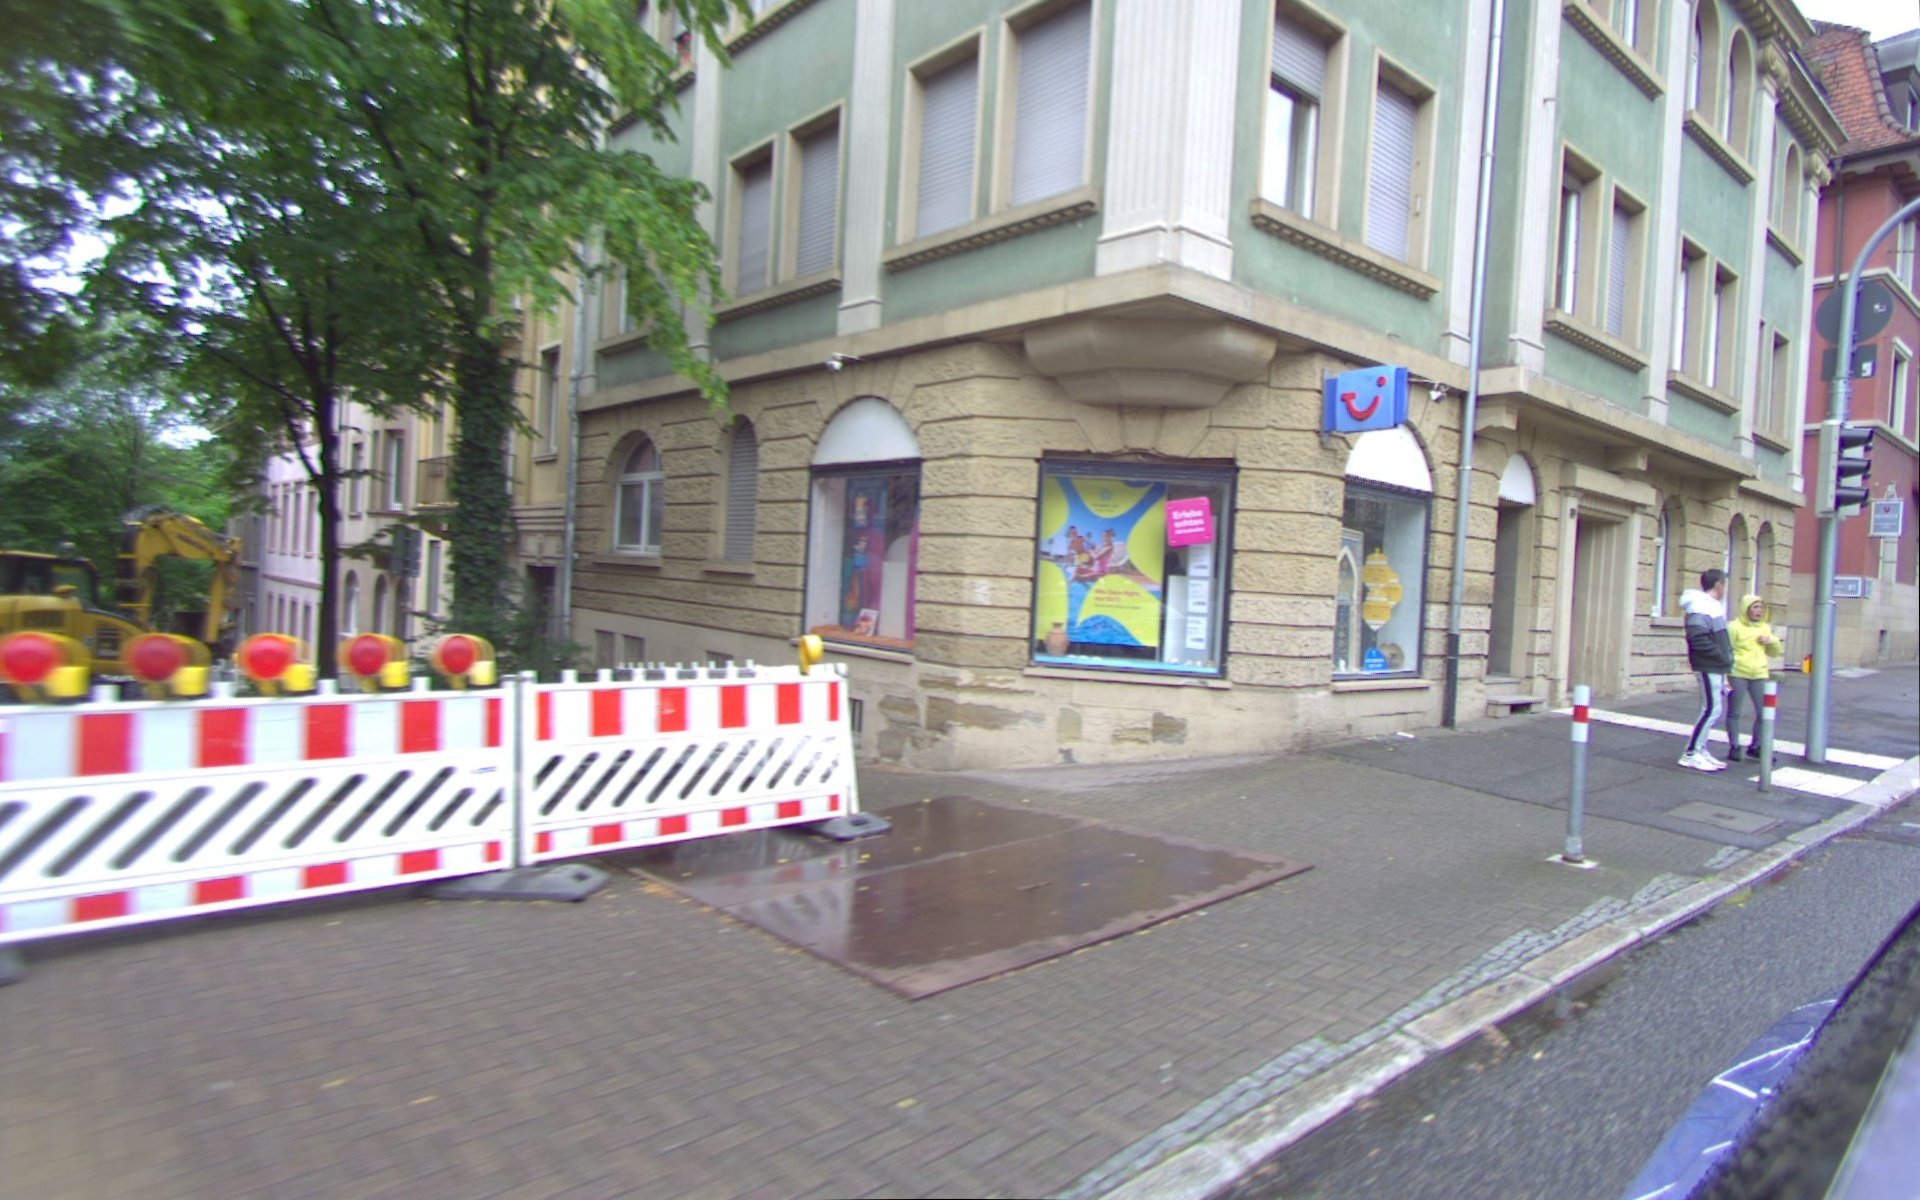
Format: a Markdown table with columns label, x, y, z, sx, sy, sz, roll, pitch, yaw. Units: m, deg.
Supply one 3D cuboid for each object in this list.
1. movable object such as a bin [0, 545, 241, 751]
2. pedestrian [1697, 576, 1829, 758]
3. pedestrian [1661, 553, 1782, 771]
| label | x | y | z | sx | sy | sz | roll | pitch | yaw |
| --- | --- | --- | --- | --- | --- | --- | --- | --- | --- |
| movable object such as a bin | -14.473 | 0.653 | 16.768 | 2.464 | 3.000 | 4.004 | 1 | 1 | -4 |
| pedestrian | 7.550 | 0.605 | 9.547 | 0.588 | 1.604 | 0.665 | 3 | 3 | 3 |
| pedestrian | 6.688 | 0.504 | 8.930 | 0.660 | 1.795 | 0.712 | 5 | 3 | 31 |
